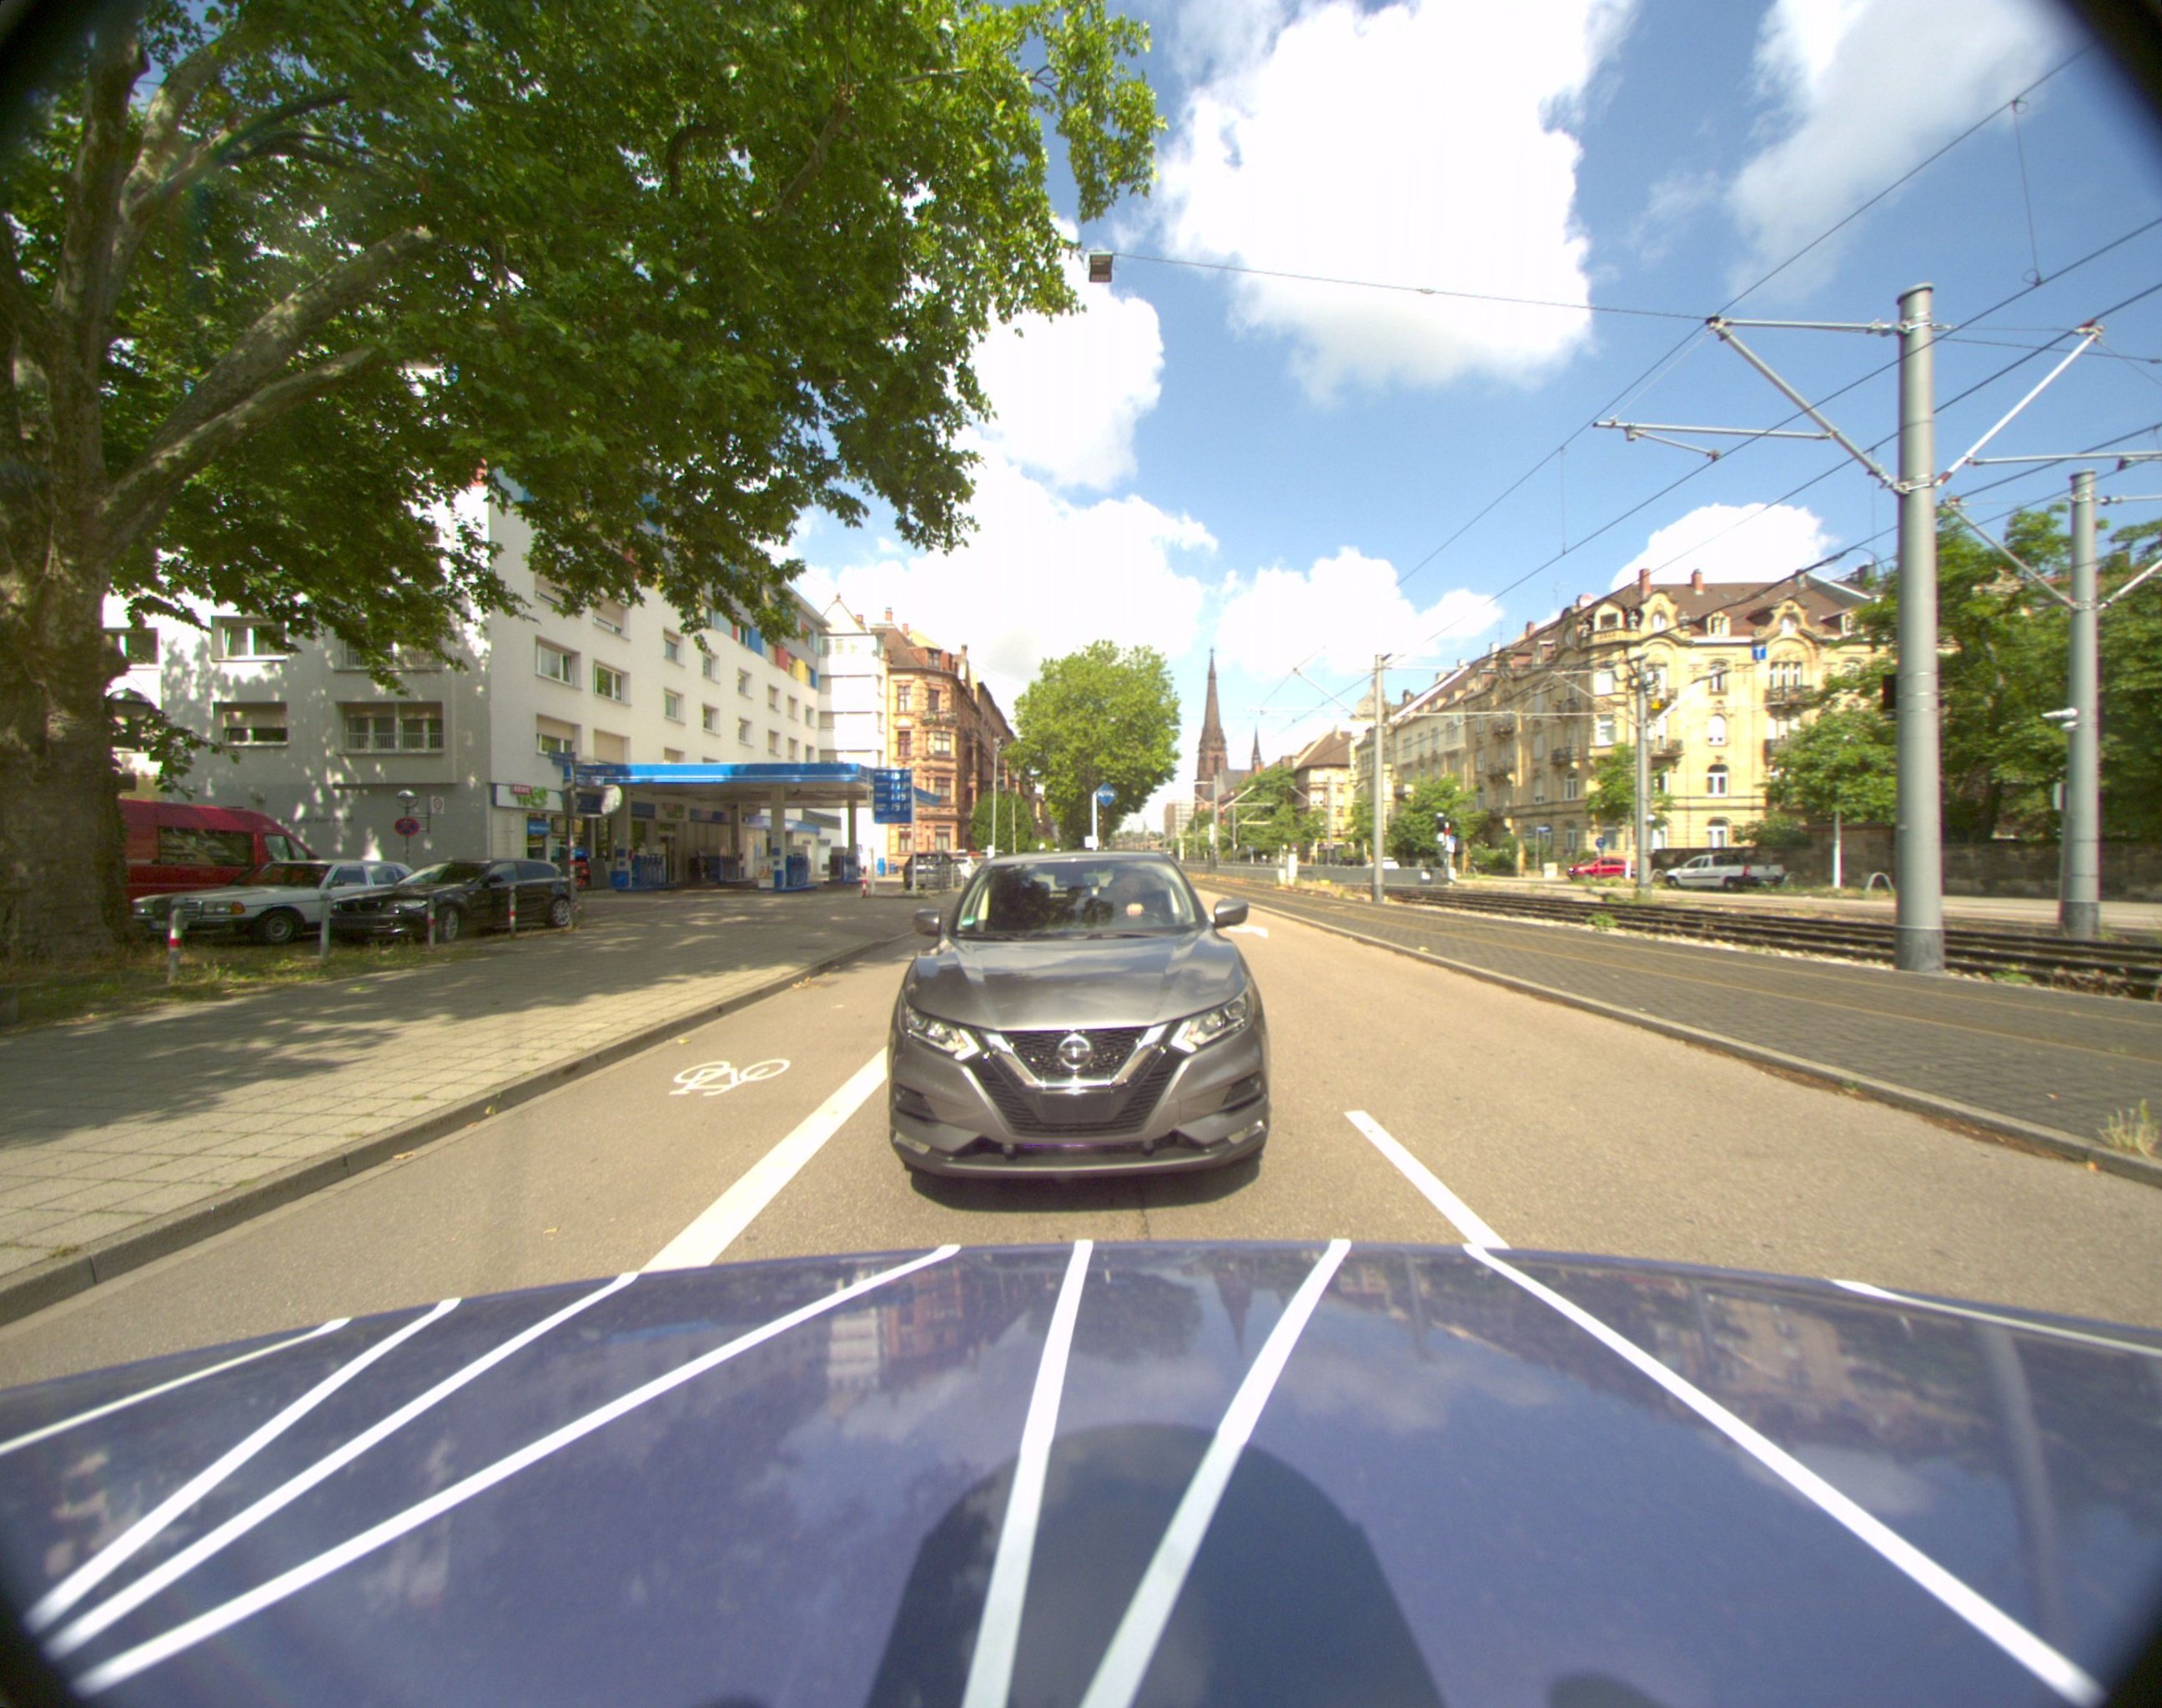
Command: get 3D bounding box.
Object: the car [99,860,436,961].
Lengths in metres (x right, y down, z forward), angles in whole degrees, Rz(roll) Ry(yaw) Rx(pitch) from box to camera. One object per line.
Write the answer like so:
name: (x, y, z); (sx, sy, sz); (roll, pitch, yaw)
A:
car: (-13.769, 0.850, 13.286); (1.653, 1.461, 4.042); (0, 0, -3)

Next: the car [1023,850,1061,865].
car: (-5.122, 0.480, 98.332); (4.735, 1.772, 2.004); (-2, 1, -7)

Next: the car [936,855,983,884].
car: (-6.439, 0.799, 40.688); (1.810, 1.447, 4.001); (-1, 0, 0)

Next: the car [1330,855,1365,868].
car: (27.134, 0.754, 77.376); (2.025, 1.319, 4.100); (0, 0, -2)

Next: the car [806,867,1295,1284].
car: (-0.073, 0.859, 5.088); (1.800, 1.454, 4.567); (0, 0, 1)

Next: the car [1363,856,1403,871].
car: (27.150, 0.822, 68.416); (1.756, 1.320, 4.312); (0, 0, -1)

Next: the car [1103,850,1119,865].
car: (3.182, 0.360, 81.723); (1.557, 1.476, 3.858); (3, 0, 0)

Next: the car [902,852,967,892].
car: (-6.384, 0.742, 33.638); (1.810, 1.593, 4.583); (-1, 0, 2)

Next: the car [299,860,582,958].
car: (-11.143, 0.863, 13.667); (1.653, 1.461, 4.042); (0, 0, 0)

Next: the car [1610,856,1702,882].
car: (33.123, 0.864, 43.829); (3.972, 1.455, 1.723); (0, 0, 1)

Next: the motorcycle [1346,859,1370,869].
motorcycle: (27.115, 0.962, 74.471); (1.765, 0.936, 1.417); (1, 0, -1)

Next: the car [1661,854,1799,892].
car: (26.907, 0.740, 31.720); (1.936, 1.495, 4.413); (0, 0, -1)

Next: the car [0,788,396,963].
car: (-16.673, 0.332, 14.193); (2.116, 2.567, 6.020); (0, 0, 2)

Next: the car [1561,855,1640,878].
car: (33.816, 0.800, 49.550); (3.788, 1.455, 1.933); (0, 0, 4)

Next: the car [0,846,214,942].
car: (-19.377, 0.706, 13.694); (2.011, 1.641, 4.653); (-2, 0, 2)

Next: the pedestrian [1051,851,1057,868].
pedestrian: (-2.725, 0.557, 77.127); (0.565, 1.776, 0.630); (0, 1, 0)
